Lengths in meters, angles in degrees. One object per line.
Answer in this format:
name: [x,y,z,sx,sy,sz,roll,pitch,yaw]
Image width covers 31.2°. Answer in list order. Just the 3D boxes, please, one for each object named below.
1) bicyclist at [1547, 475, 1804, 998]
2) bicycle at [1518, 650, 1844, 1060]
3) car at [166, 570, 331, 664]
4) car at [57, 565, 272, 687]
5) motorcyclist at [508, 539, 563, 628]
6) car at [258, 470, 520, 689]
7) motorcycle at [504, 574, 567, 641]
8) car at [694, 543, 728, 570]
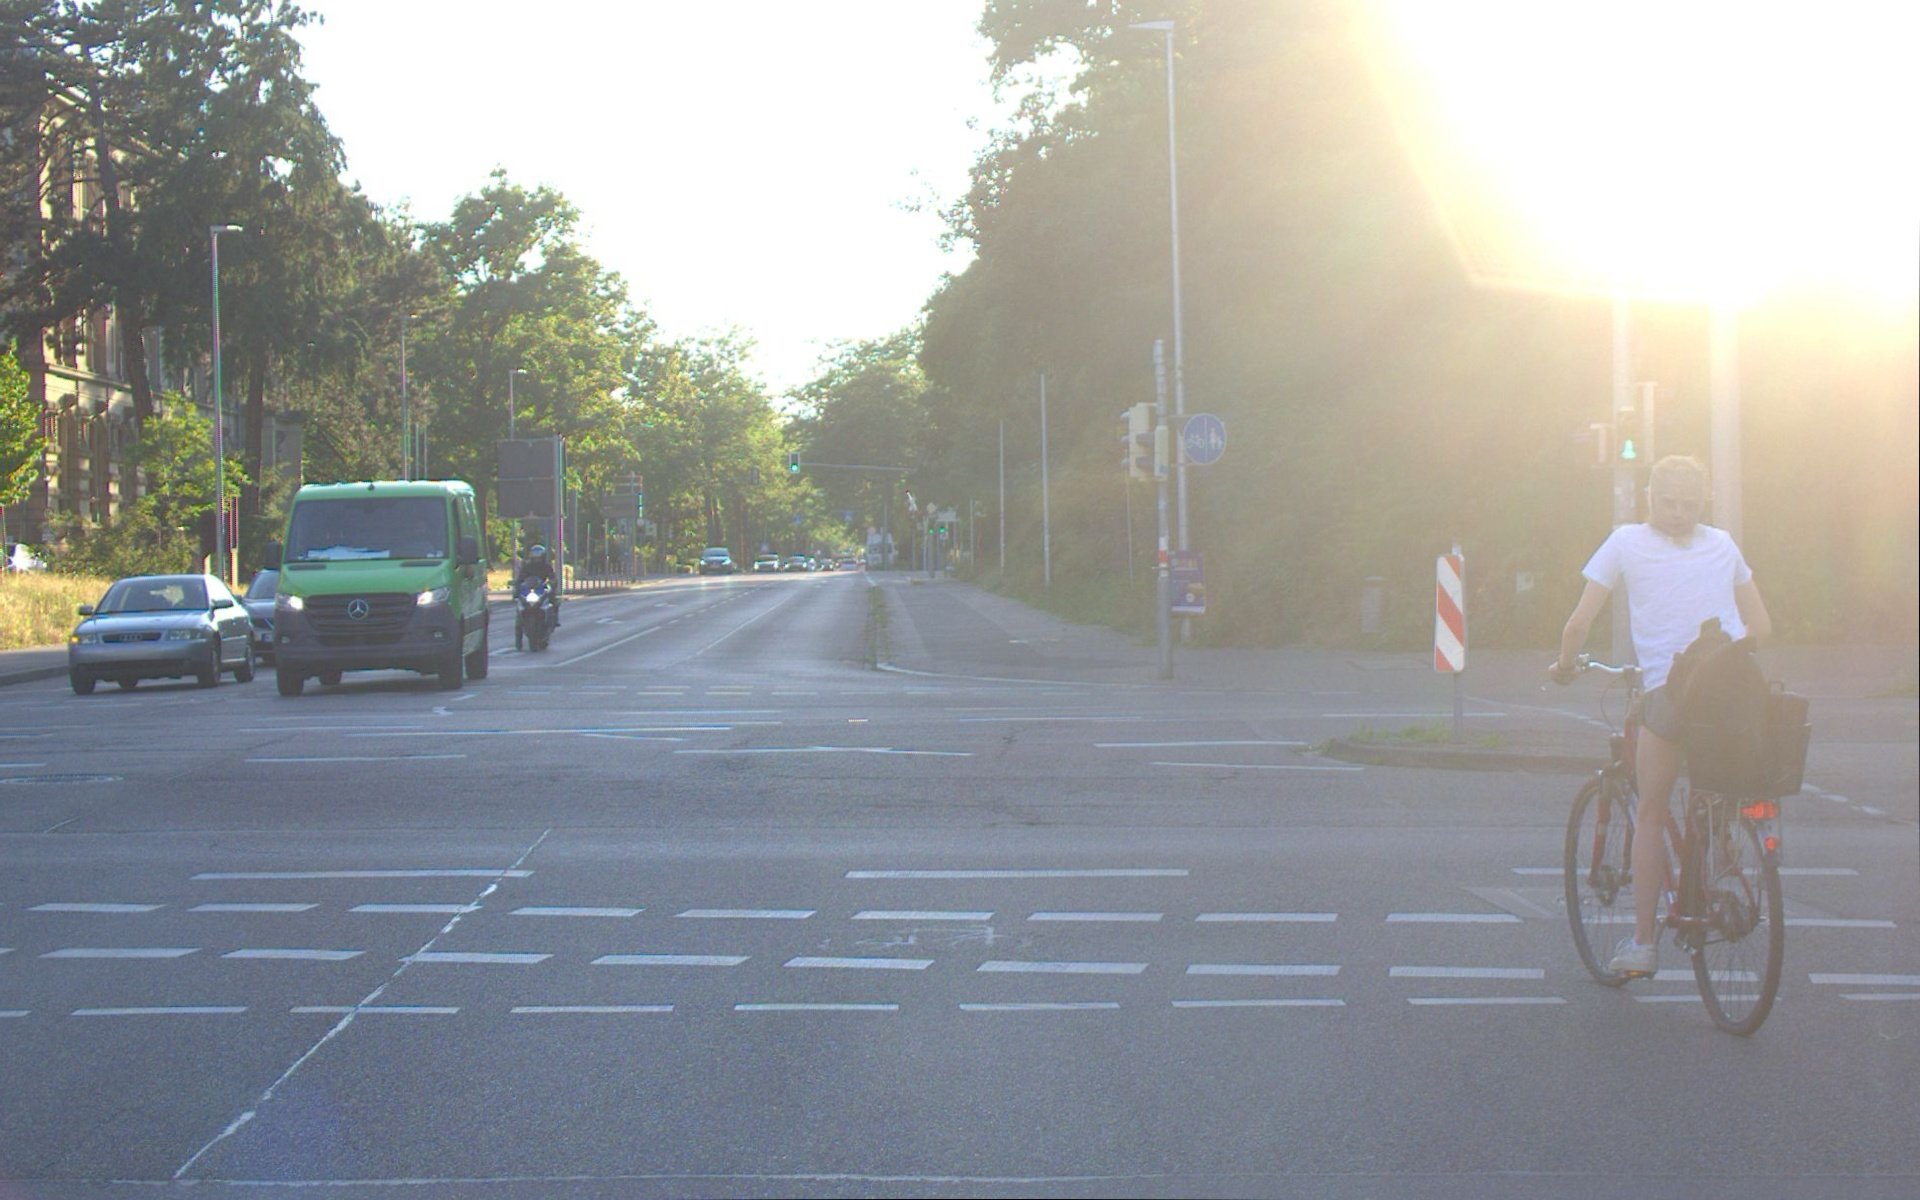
bicyclist: [2.239,0.408,10.839,0.603,1.580,0.910,0,1,-1]
bicycle: [2.244,0.755,10.916,0.613,1.134,1.884,0,1,-1]
car: [-10.705,0.231,51.928,1.764,1.323,3.643,-1,1,-1]
car: [-9.784,0.284,42.552,1.730,1.404,4.140,-1,1,-1]
motorcyclist: [-6.567,-0.252,53.183,0.749,1.353,0.704,-1,0,-1]
car: [-6.380,-0.260,39.082,2.038,2.270,5.941,-1,1,-1]
motorcycle: [-6.556,0.109,53.135,0.754,0.998,1.879,-1,1,-1]
car: [-13.696,-2.394,188.927,1.770,1.469,3.777,-1,1,-5]
